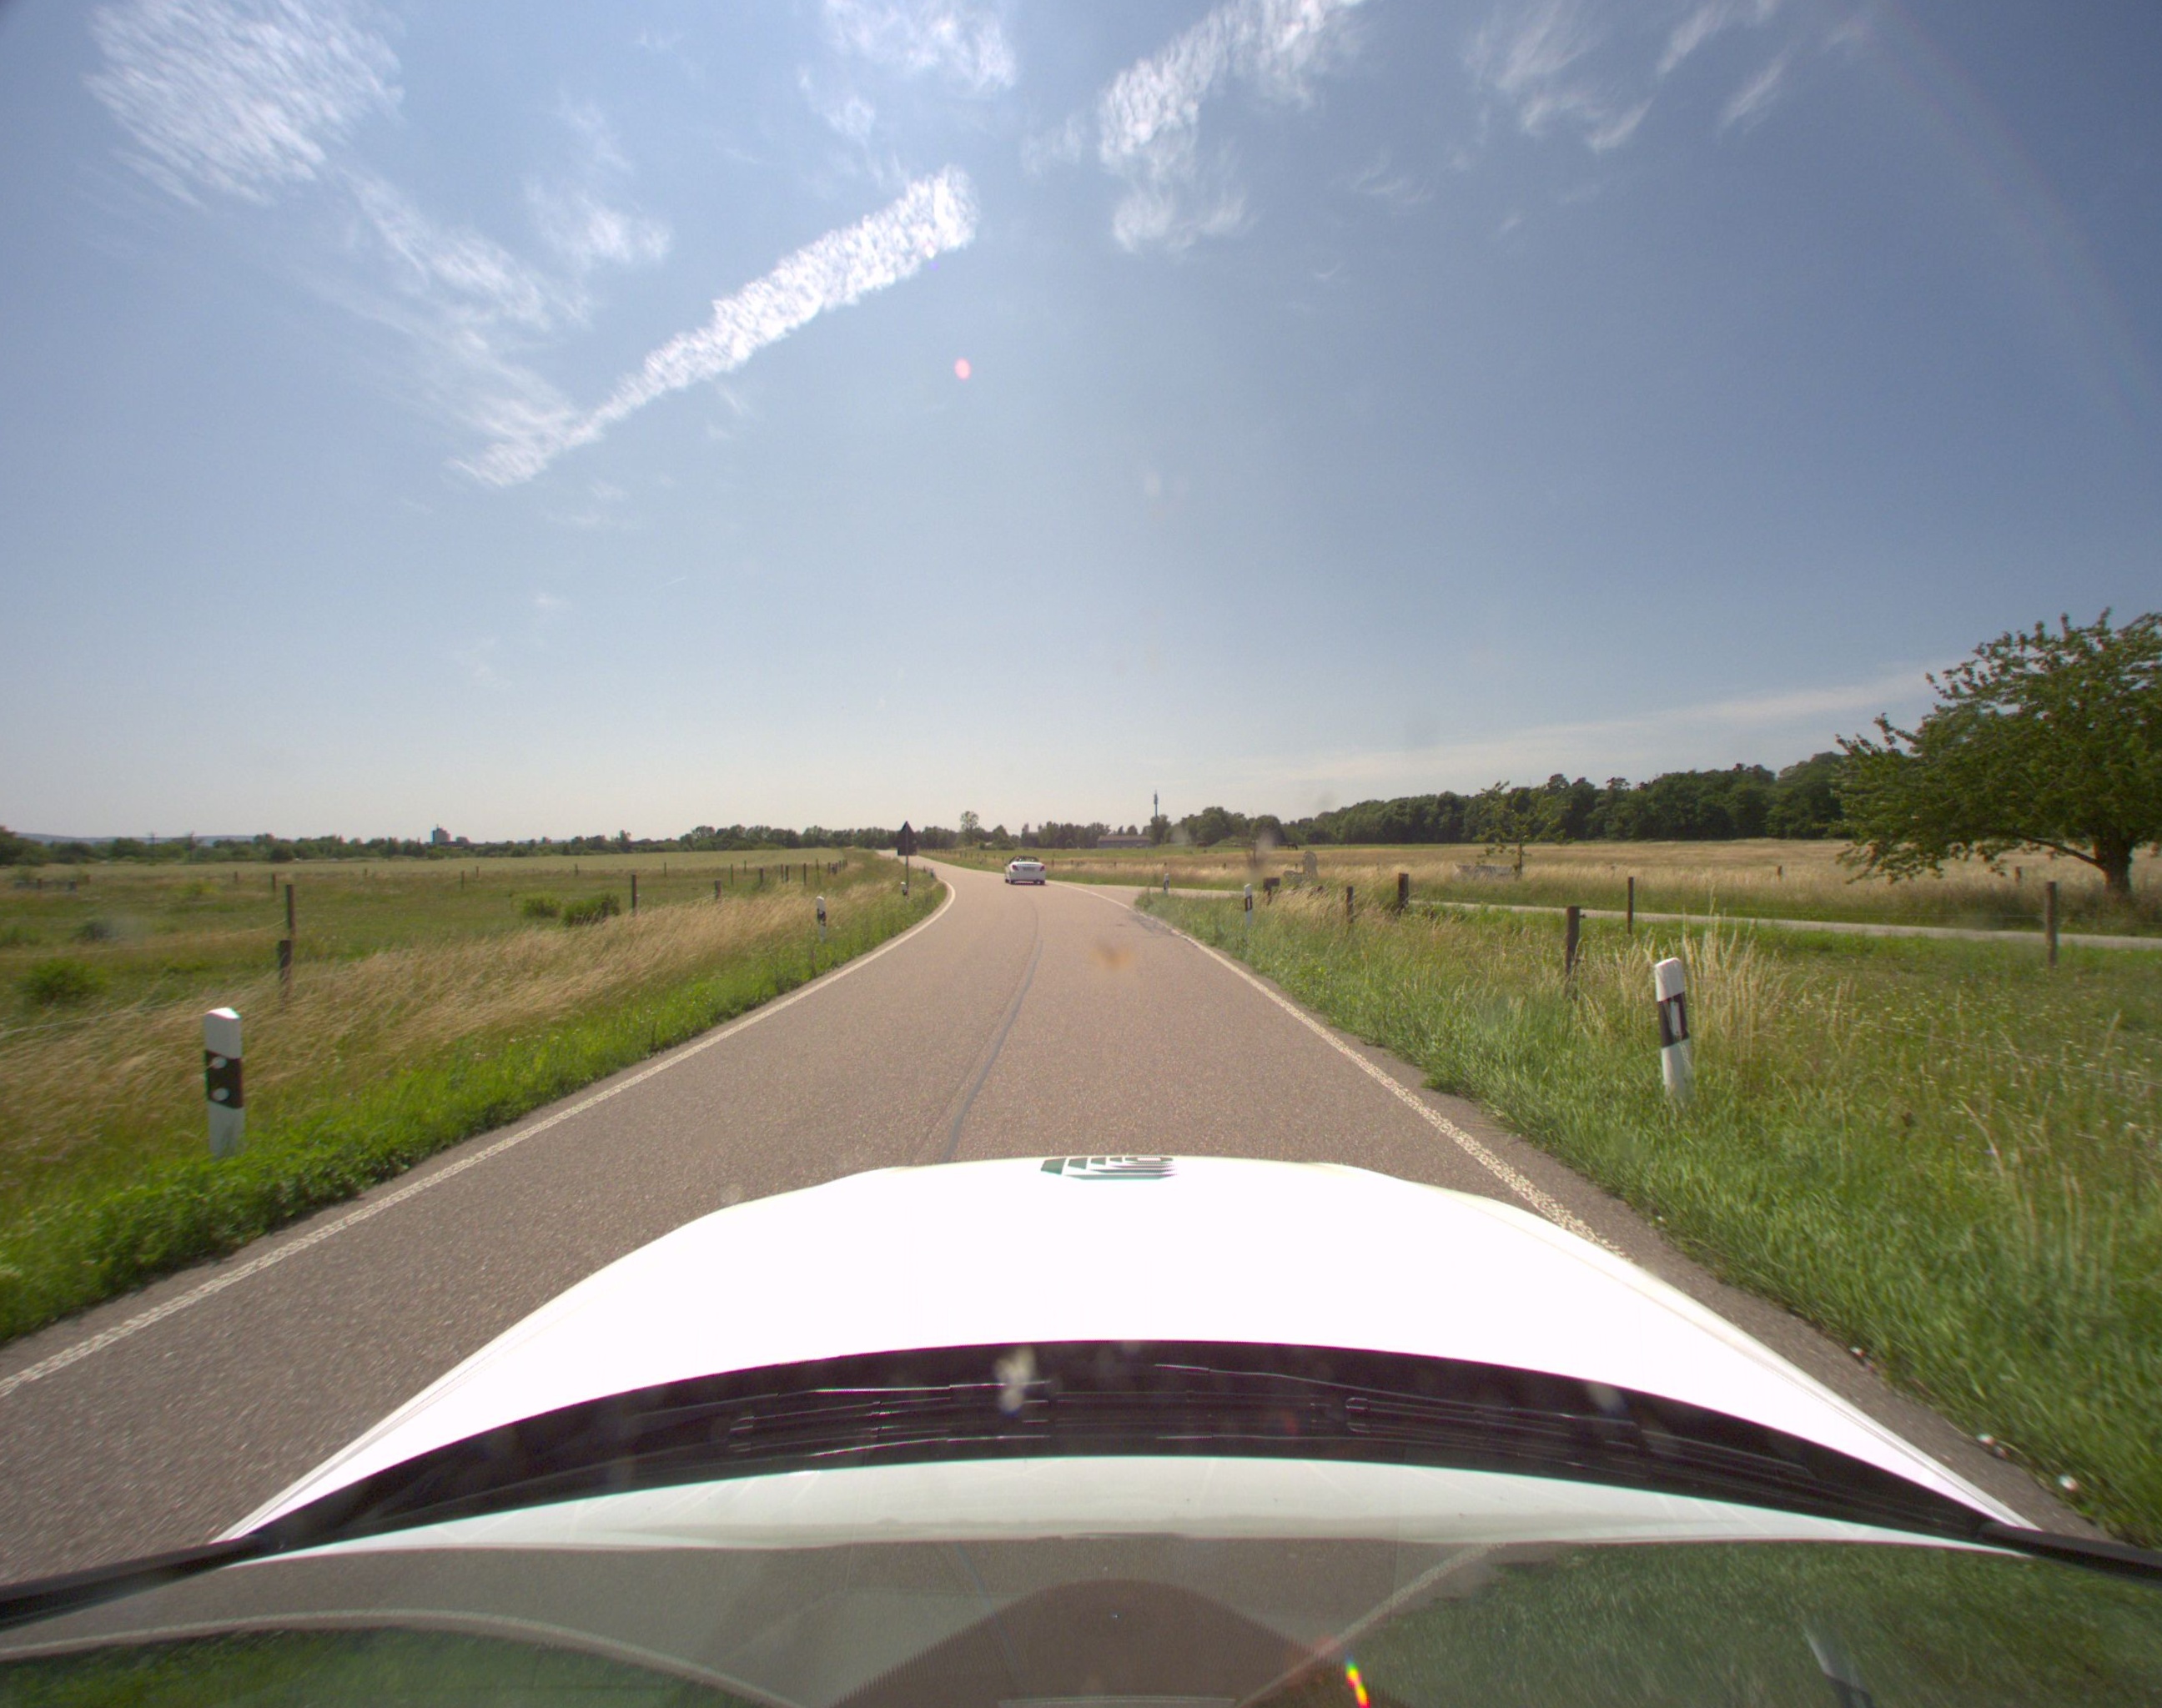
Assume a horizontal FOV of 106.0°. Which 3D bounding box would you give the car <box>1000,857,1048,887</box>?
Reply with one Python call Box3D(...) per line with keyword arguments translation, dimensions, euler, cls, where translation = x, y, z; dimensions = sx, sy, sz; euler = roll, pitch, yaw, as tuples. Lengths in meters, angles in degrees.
Box3D(translation=(-2.880, 0.898, 40.506), dimensions=(1.852, 1.379, 3.984), euler=(1, -1, -12), cls="car")
